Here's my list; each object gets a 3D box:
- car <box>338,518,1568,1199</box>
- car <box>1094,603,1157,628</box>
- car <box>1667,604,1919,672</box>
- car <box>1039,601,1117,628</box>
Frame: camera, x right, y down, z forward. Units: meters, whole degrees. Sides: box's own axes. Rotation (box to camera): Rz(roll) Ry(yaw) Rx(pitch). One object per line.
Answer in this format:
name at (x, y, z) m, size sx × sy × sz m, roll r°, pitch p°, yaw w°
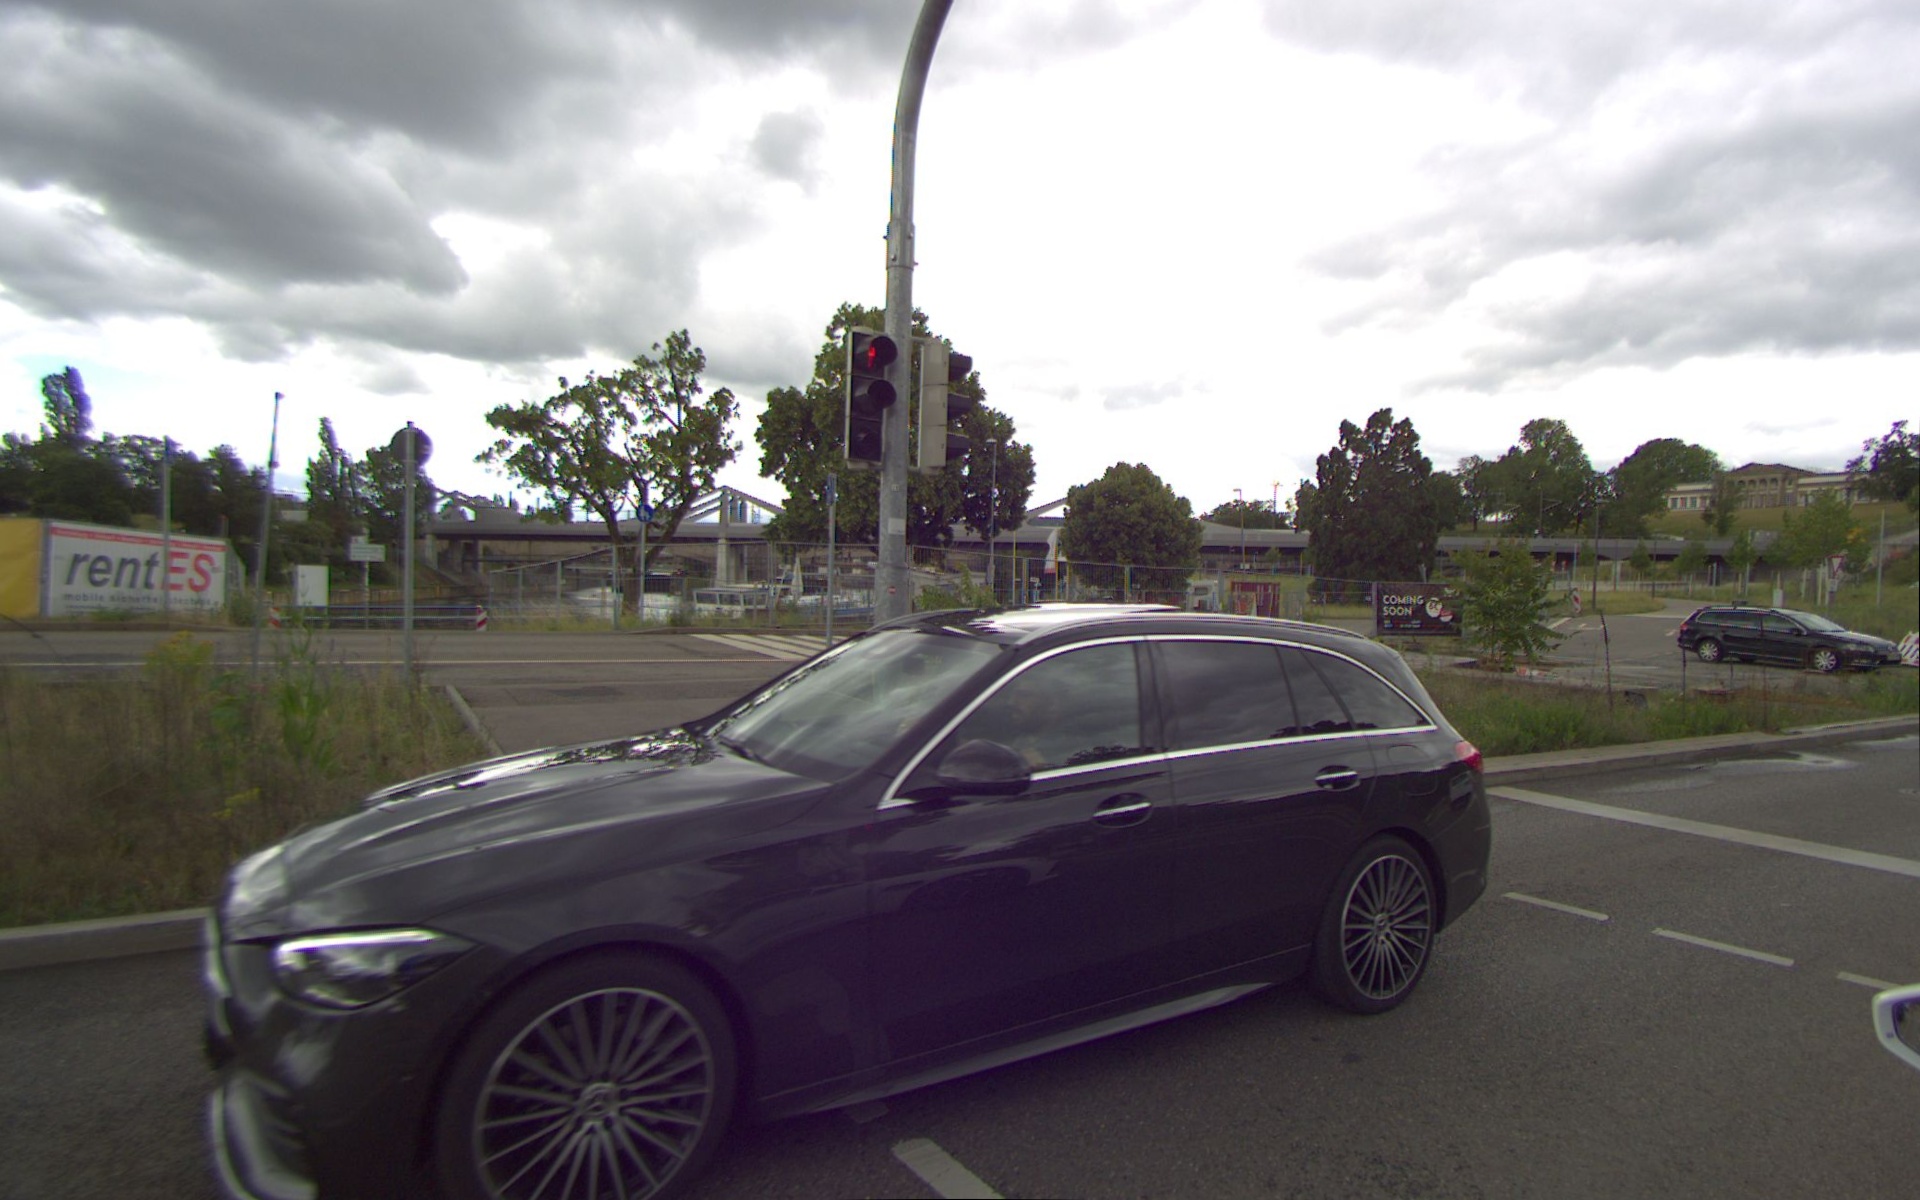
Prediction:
car at (0.247, 0.672, 3.831) m, size 4.395 × 1.549 × 1.721 m, roll 2°, pitch 0°, yaw -32°
car at (9.422, 0.845, 57.256) m, size 3.436 × 1.309 × 1.603 m, roll 1°, pitch 1°, yaw 9°
car at (21.304, 0.895, 25.960) m, size 1.970 × 1.497 × 4.702 m, roll 0°, pitch 1°, yaw -20°
car at (6.166, 0.753, 52.753) m, size 3.844 × 1.309 × 1.804 m, roll 1°, pitch 1°, yaw 0°
